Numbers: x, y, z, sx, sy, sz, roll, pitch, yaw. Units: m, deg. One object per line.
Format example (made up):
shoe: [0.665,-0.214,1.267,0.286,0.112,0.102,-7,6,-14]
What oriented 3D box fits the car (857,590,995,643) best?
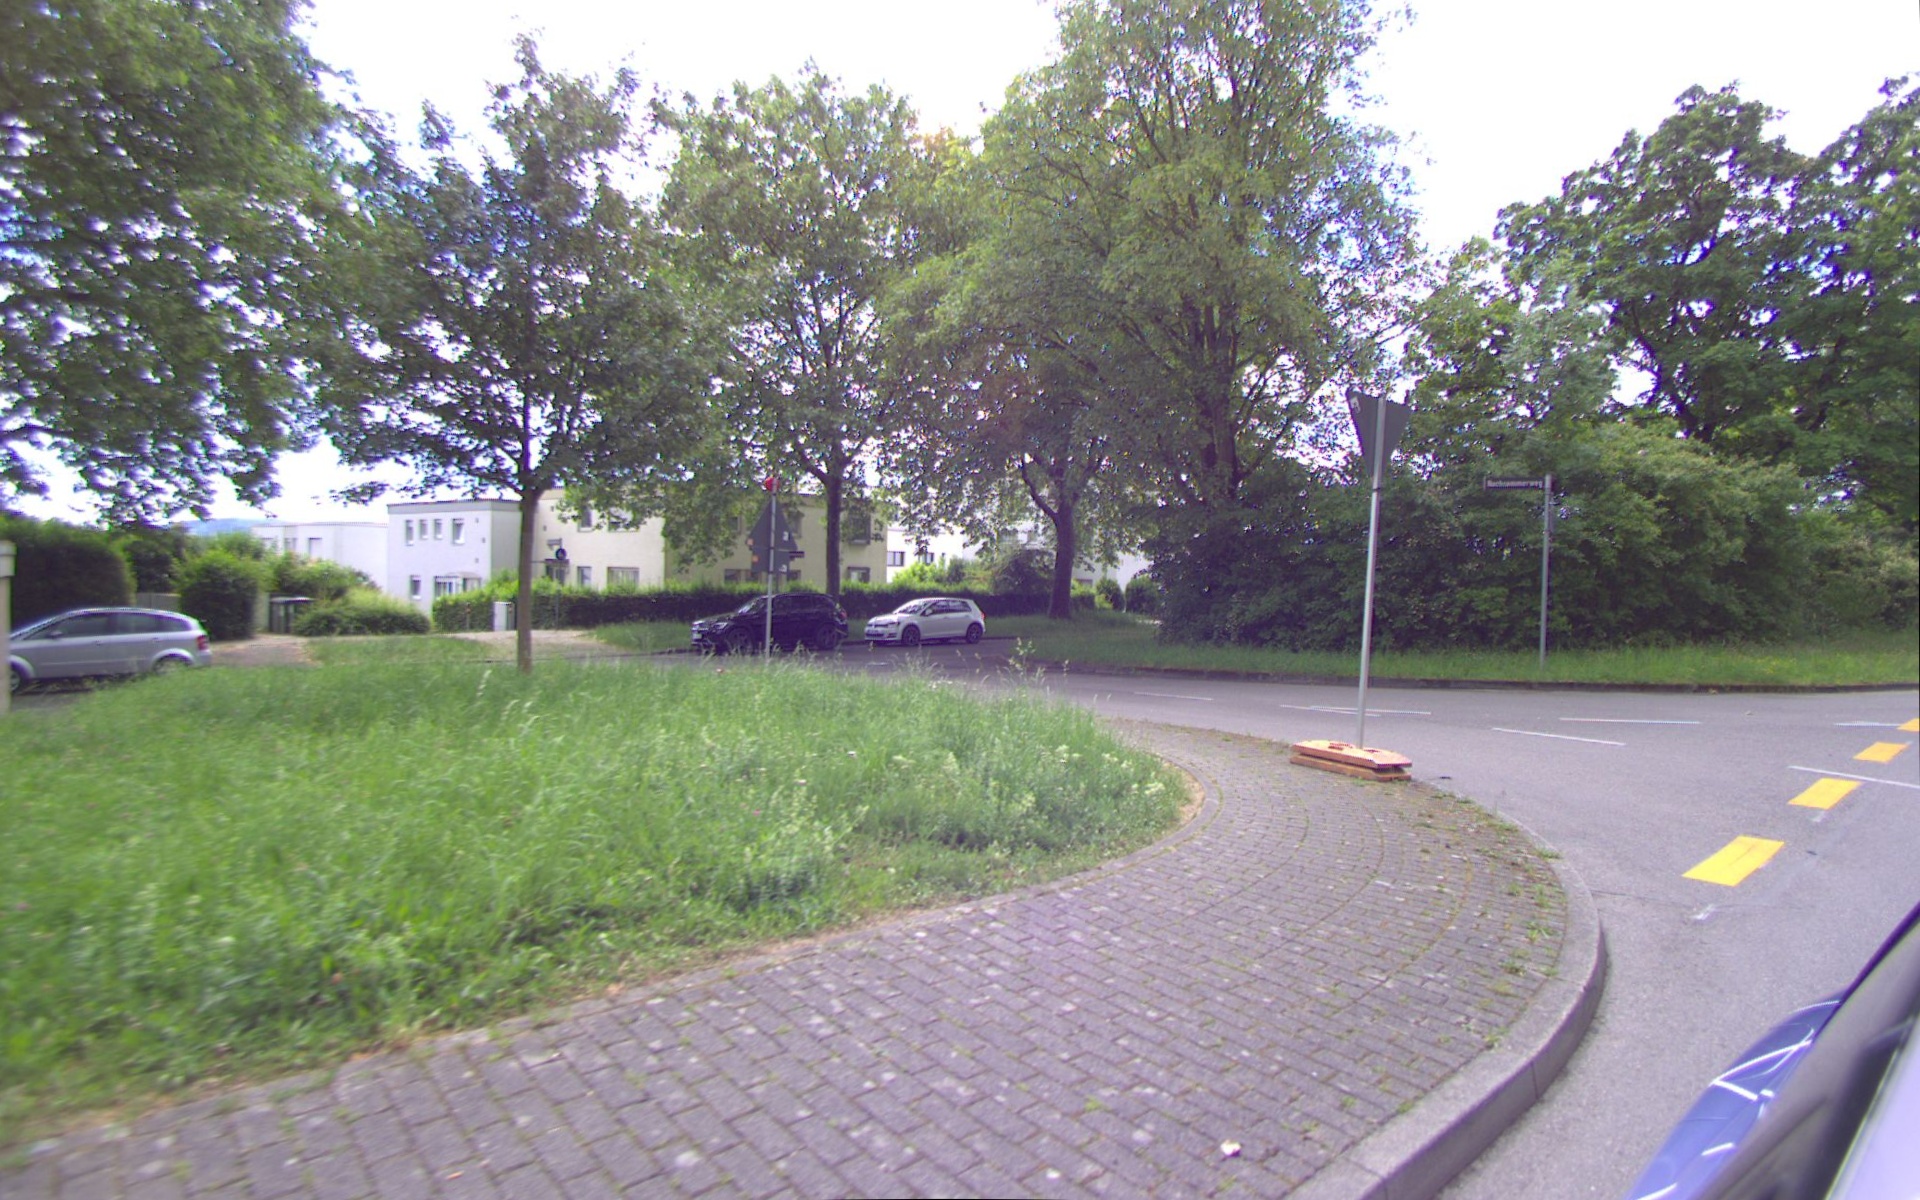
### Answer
car: [-1.030,0.481,32.129,4.169,1.504,1.826,0,2,-41]

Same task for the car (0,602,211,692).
car: [-16.586,0.832,19.239,3.682,1.487,1.850,0,2,-41]

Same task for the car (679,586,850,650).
car: [-5.437,0.449,28.506,4.368,1.638,1.896,0,2,-41]
